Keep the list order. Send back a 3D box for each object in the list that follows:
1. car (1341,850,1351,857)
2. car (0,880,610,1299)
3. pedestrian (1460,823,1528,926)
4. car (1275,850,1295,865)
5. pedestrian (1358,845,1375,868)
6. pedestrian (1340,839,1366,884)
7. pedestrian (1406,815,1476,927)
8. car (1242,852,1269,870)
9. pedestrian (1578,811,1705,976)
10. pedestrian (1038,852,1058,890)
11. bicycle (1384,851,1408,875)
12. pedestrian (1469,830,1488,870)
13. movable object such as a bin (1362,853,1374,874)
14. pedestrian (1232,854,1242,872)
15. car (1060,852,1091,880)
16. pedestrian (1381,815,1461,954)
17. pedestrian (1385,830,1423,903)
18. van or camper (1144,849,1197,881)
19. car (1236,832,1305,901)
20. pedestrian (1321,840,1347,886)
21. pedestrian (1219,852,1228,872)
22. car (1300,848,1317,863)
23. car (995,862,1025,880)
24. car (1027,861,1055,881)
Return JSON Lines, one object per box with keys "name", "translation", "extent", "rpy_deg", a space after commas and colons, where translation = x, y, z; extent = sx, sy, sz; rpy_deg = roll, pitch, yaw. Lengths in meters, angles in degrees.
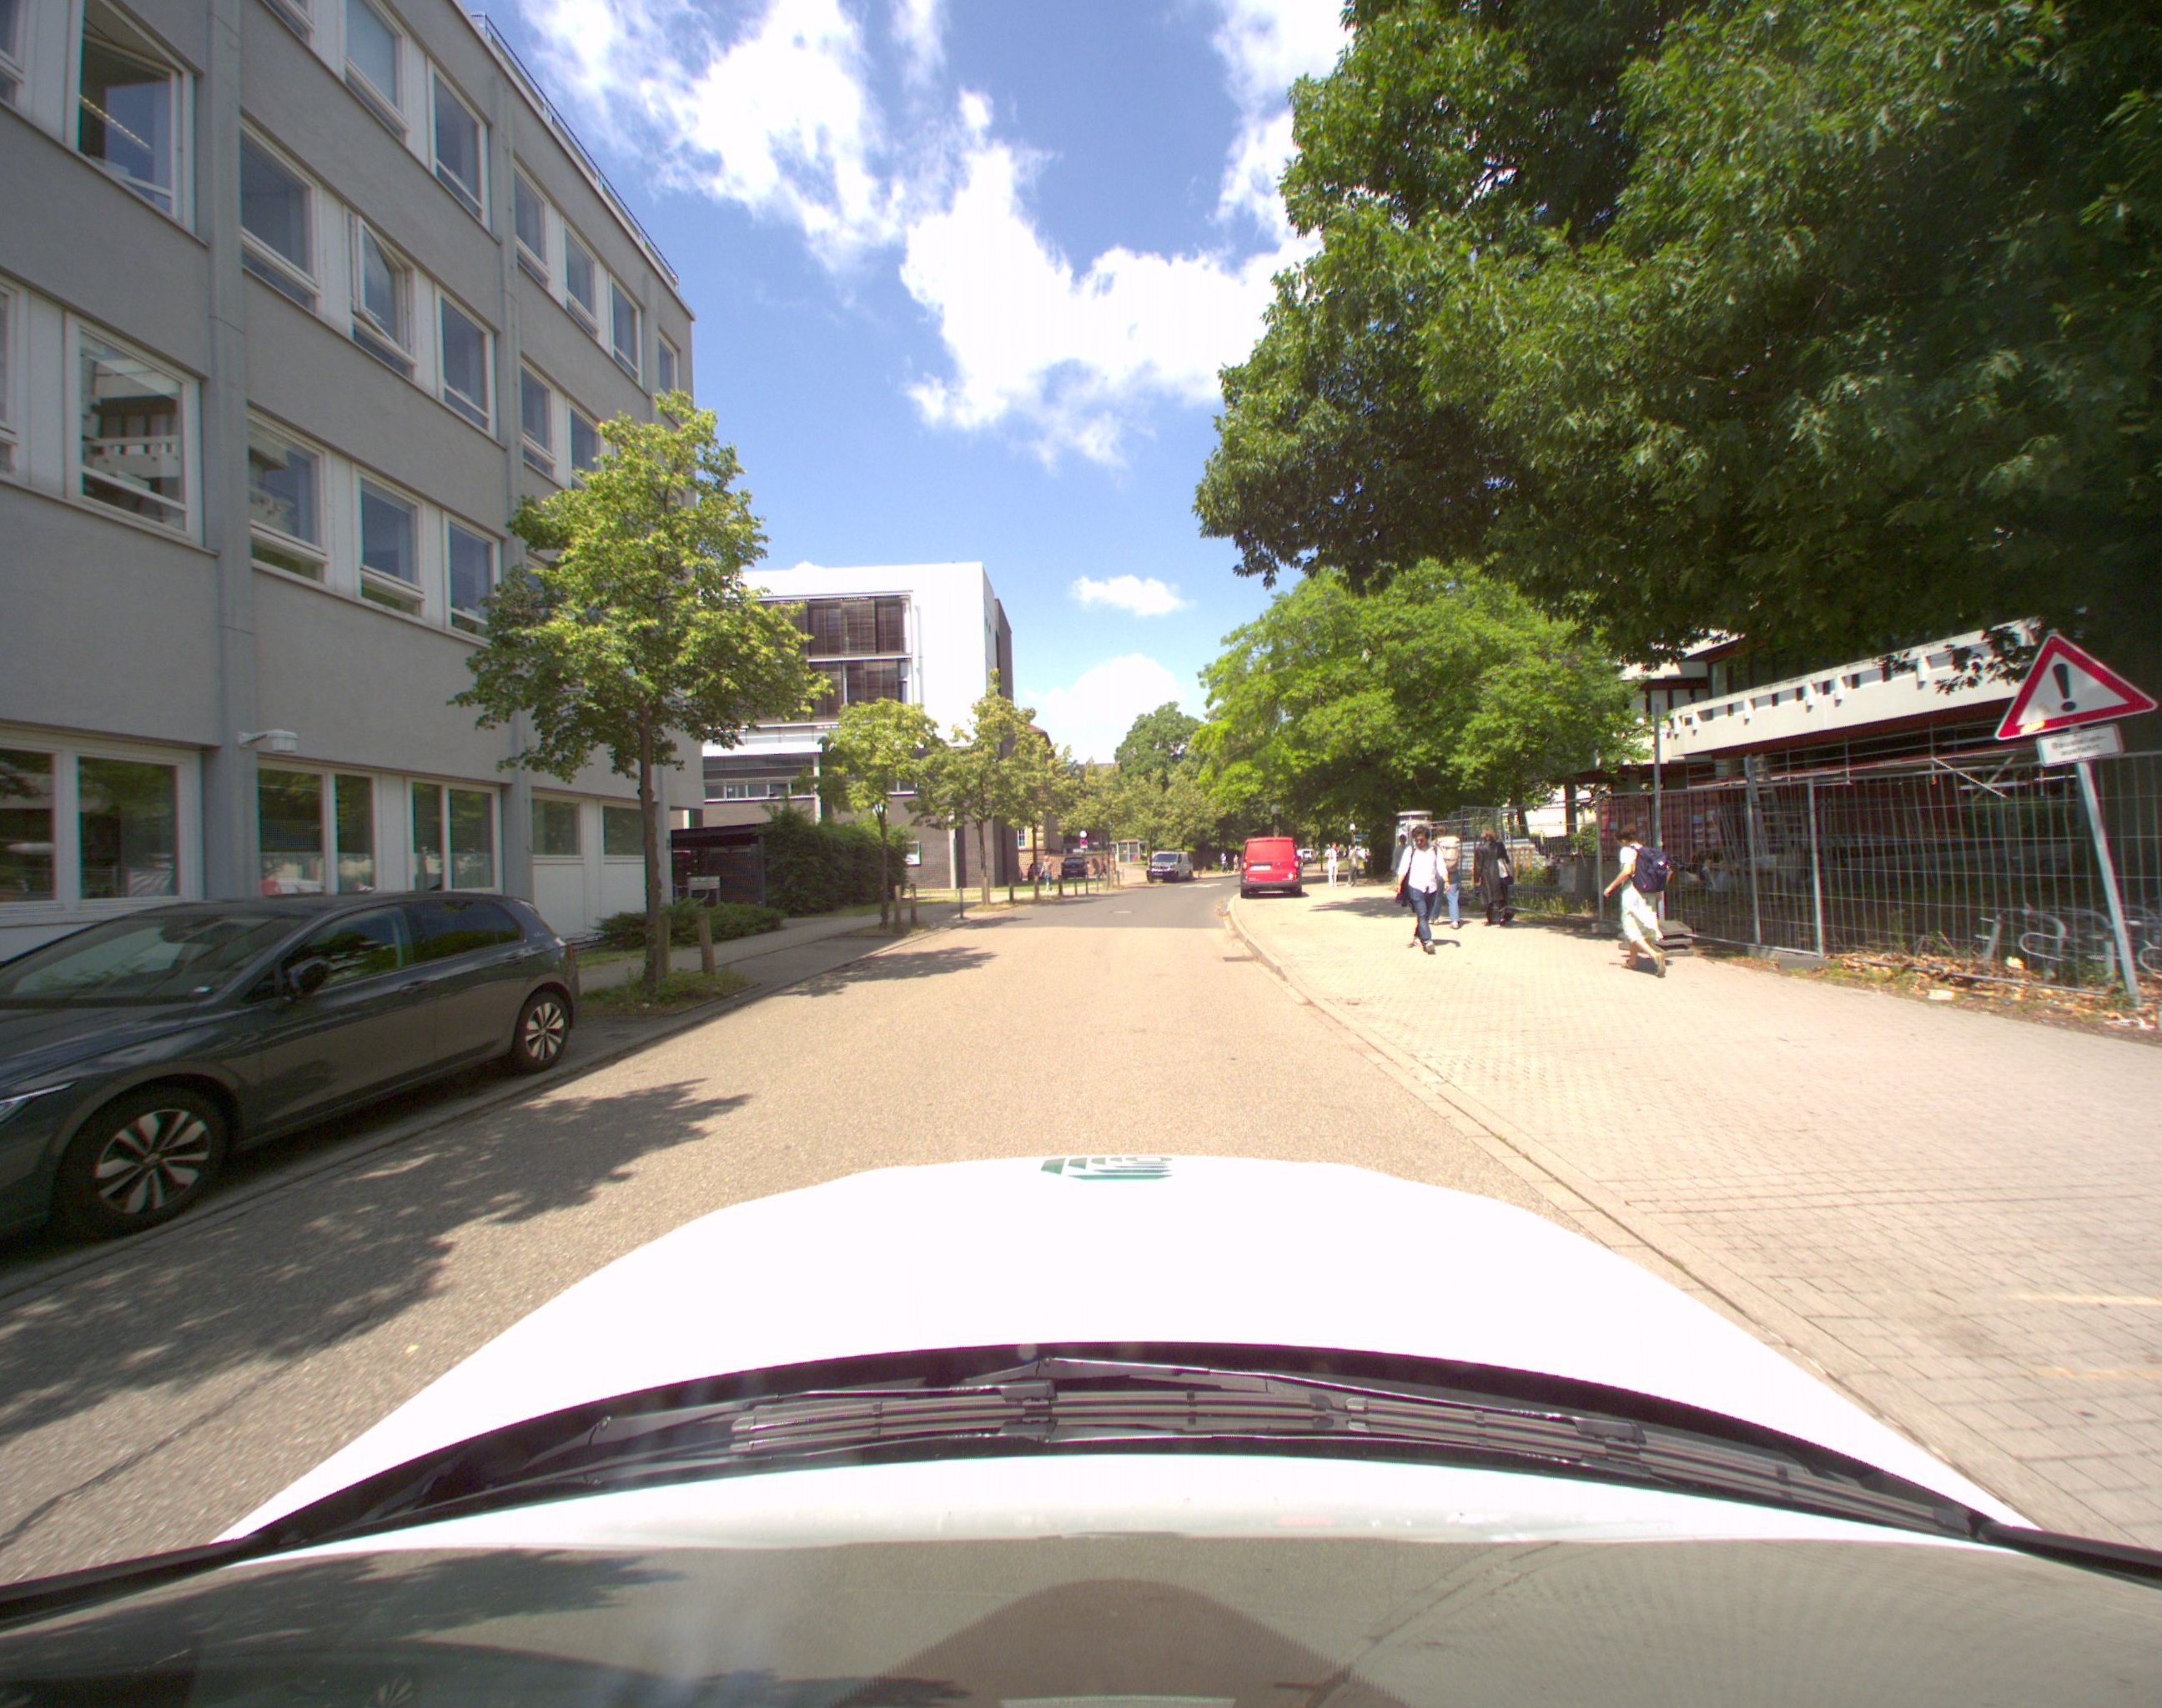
{"name": "car", "translation": [52.077, -0.115, 160.139], "extent": [1.602, 1.365, 4.586], "rpy_deg": [-2, -1, 21]}
{"name": "car", "translation": [-4.971, 0.967, 4.903], "extent": [1.772, 1.461, 4.258], "rpy_deg": [-1, 0, 0]}
{"name": "pedestrian", "translation": [6.709, 0.325, 13.278], "extent": [0.664, 1.600, 0.988], "rpy_deg": [-3, -1, 10]}
{"name": "car", "translation": [23.076, 0.391, 92.076], "extent": [1.601, 1.679, 4.022], "rpy_deg": [-2, -1, 22]}
{"name": "pedestrian", "translation": [23.767, 0.200, 67.776], "extent": [0.814, 1.754, 0.845], "rpy_deg": [-17, -6, 22]}
{"name": "pedestrian", "translation": [10.663, 0.303, 31.874], "extent": [0.748, 1.710, 0.558], "rpy_deg": [-2, -1, -34]}
{"name": "pedestrian", "translation": [5.908, 0.274, 13.420], "extent": [0.844, 1.764, 0.718], "rpy_deg": [-3, -1, 11]}
{"name": "car", "translation": [16.521, 0.656, 77.025], "extent": [1.744, 1.522, 4.134], "rpy_deg": [-2, -1, 22]}
{"name": "pedestrian", "translation": [6.038, 0.408, 8.820], "extent": [0.648, 1.666, 0.903], "rpy_deg": [-3, -1, -3]}
{"name": "pedestrian", "translation": [-1.556, 0.822, 38.926], "extent": [0.579, 1.764, 0.916], "rpy_deg": [-3, -1, 19]}
{"name": "bicycle", "translation": [15.268, 0.421, 39.474], "extent": [0.615, 1.119, 1.875], "rpy_deg": [-2, -1, 7]}
{"name": "pedestrian", "translation": [18.542, -0.199, 37.989], "extent": [0.540, 1.837, 0.763], "rpy_deg": [-2, -1, 8]}
{"name": "movable object such as a bin", "translation": [14.964, 0.476, 42.464], "extent": [0.486, 1.072, 0.506], "rpy_deg": [-2, -1, 9]}
{"name": "pedestrian", "translation": [13.175, 0.737, 68.704], "extent": [0.488, 1.527, 0.589], "rpy_deg": [-3, -1, 42]}
{"name": "car", "translation": [-0.423, 0.866, 60.771], "extent": [2.168, 1.926, 5.184], "rpy_deg": [-2, -1, 0]}
{"name": "pedestrian", "translation": [4.572, 0.399, 10.991], "extent": [0.692, 1.781, 0.787], "rpy_deg": [-3, -1, 3]}
{"name": "pedestrian", "translation": [7.469, 0.296, 18.841], "extent": [0.707, 1.631, 0.714], "rpy_deg": [-2, -1, 17]}
{"name": "van or camper", "translation": [5.828, 0.683, 52.406], "extent": [1.936, 1.923, 5.449], "rpy_deg": [-1, 0, 22]}
{"name": "car", "translation": [5.909, 0.353, 25.756], "extent": [1.836, 1.891, 4.906], "rpy_deg": [-3, 0, 11]}
{"name": "pedestrian", "translation": [10.188, 0.352, 32.761], "extent": [0.726, 1.821, 0.623], "rpy_deg": [-2, -1, -34]}
{"name": "pedestrian", "translation": [12.133, 0.678, 69.268], "extent": [0.625, 1.663, 0.603], "rpy_deg": [-2, -1, -3]}
{"name": "car", "translation": [29.595, 0.199, 106.041], "extent": [1.601, 1.816, 4.022], "rpy_deg": [-2, -1, 22]}
{"name": "car", "translation": [-5.252, 1.248, 60.719], "extent": [1.811, 1.324, 4.162], "rpy_deg": [0, 0, 1]}
{"name": "car", "translation": [-2.984, 1.246, 60.776], "extent": [1.811, 1.324, 3.768], "rpy_deg": [-2, -1, 0]}
